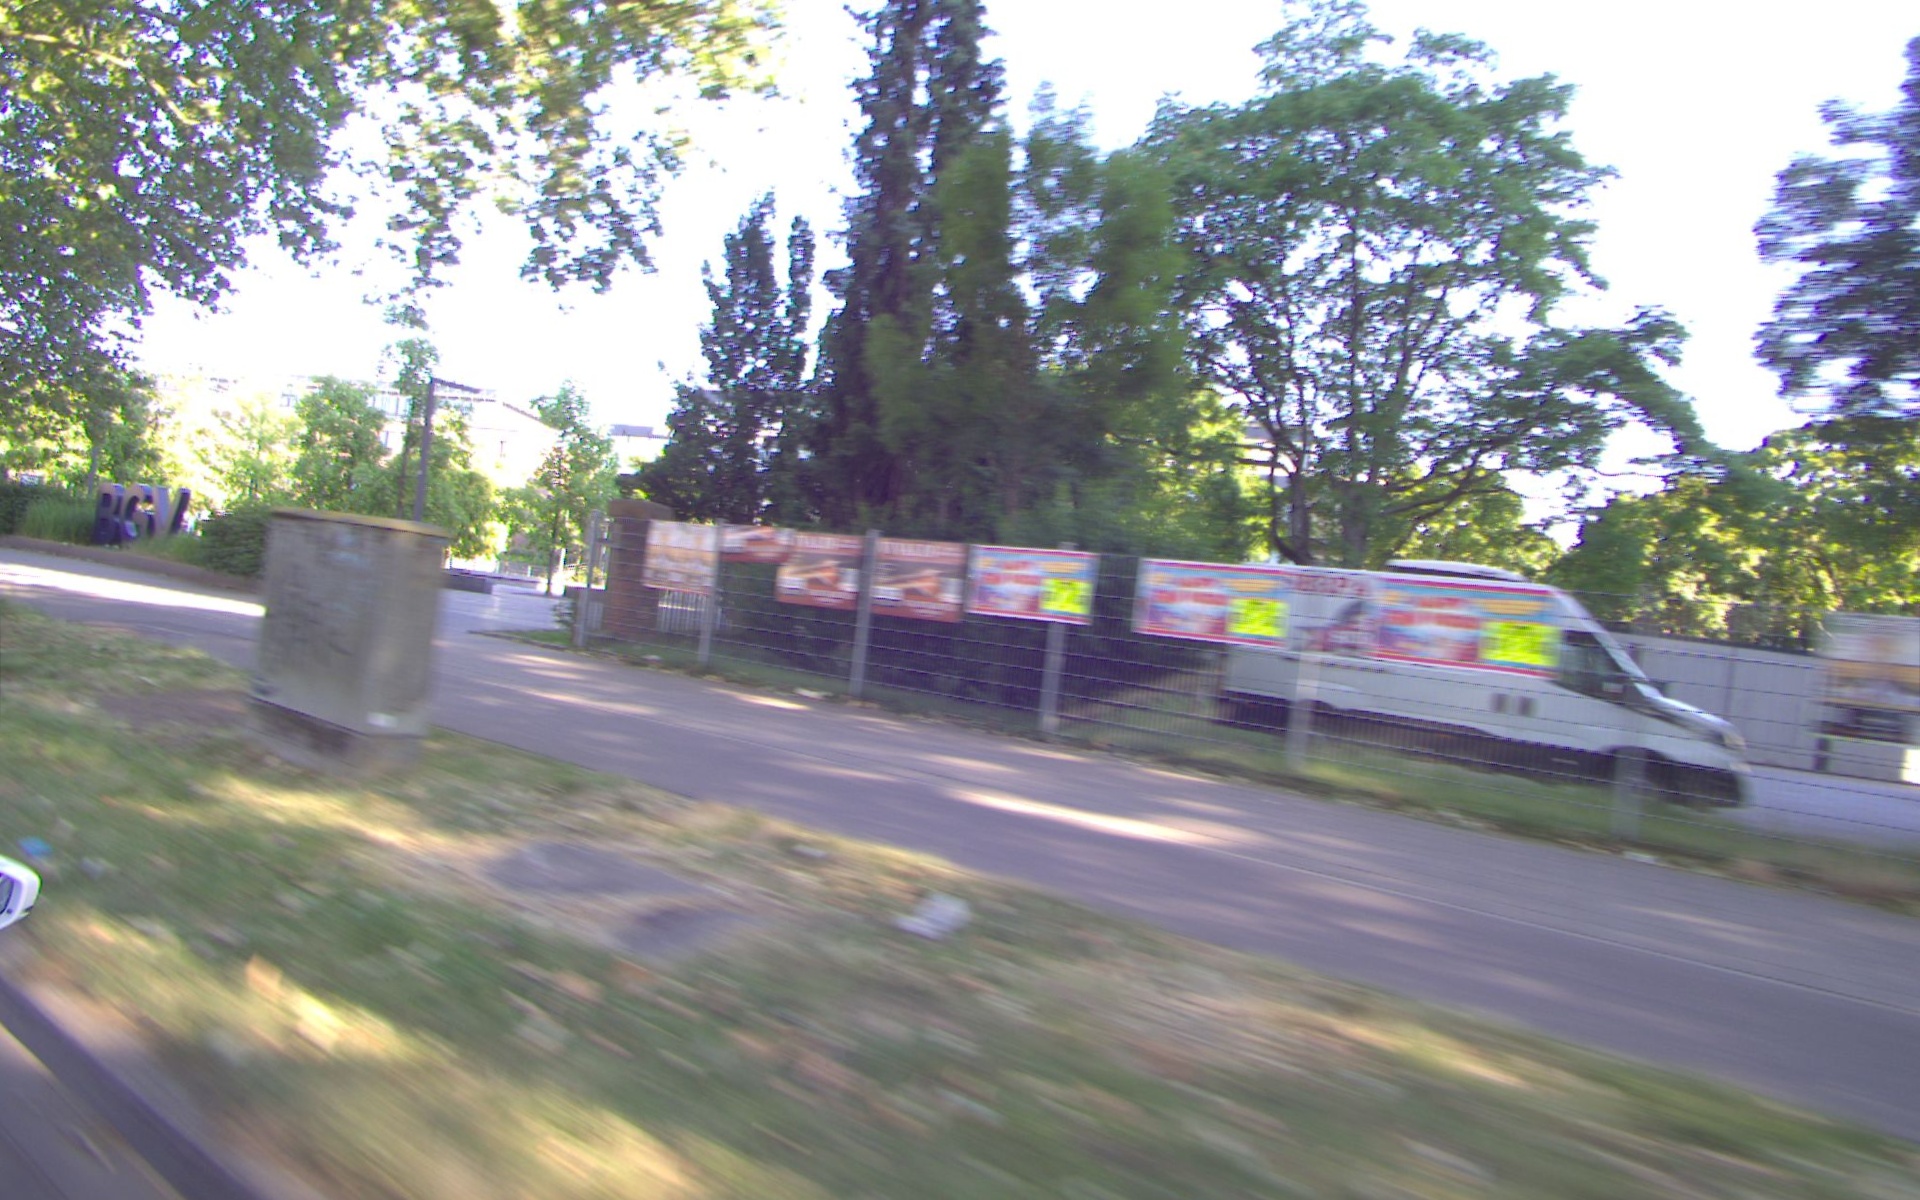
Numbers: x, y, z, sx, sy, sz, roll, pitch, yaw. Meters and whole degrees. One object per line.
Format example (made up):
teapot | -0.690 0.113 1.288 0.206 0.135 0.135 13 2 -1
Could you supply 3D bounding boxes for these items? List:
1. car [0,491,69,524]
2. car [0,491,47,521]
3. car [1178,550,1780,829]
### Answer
car | -65.039 -6.474 69.686 1.813 1.735 4.687 7 0 11
car | -67.399 -6.760 70.609 1.813 1.735 4.687 7 0 11
car | 6.271 0.951 12.946 6.245 2.527 1.997 6 -3 34
